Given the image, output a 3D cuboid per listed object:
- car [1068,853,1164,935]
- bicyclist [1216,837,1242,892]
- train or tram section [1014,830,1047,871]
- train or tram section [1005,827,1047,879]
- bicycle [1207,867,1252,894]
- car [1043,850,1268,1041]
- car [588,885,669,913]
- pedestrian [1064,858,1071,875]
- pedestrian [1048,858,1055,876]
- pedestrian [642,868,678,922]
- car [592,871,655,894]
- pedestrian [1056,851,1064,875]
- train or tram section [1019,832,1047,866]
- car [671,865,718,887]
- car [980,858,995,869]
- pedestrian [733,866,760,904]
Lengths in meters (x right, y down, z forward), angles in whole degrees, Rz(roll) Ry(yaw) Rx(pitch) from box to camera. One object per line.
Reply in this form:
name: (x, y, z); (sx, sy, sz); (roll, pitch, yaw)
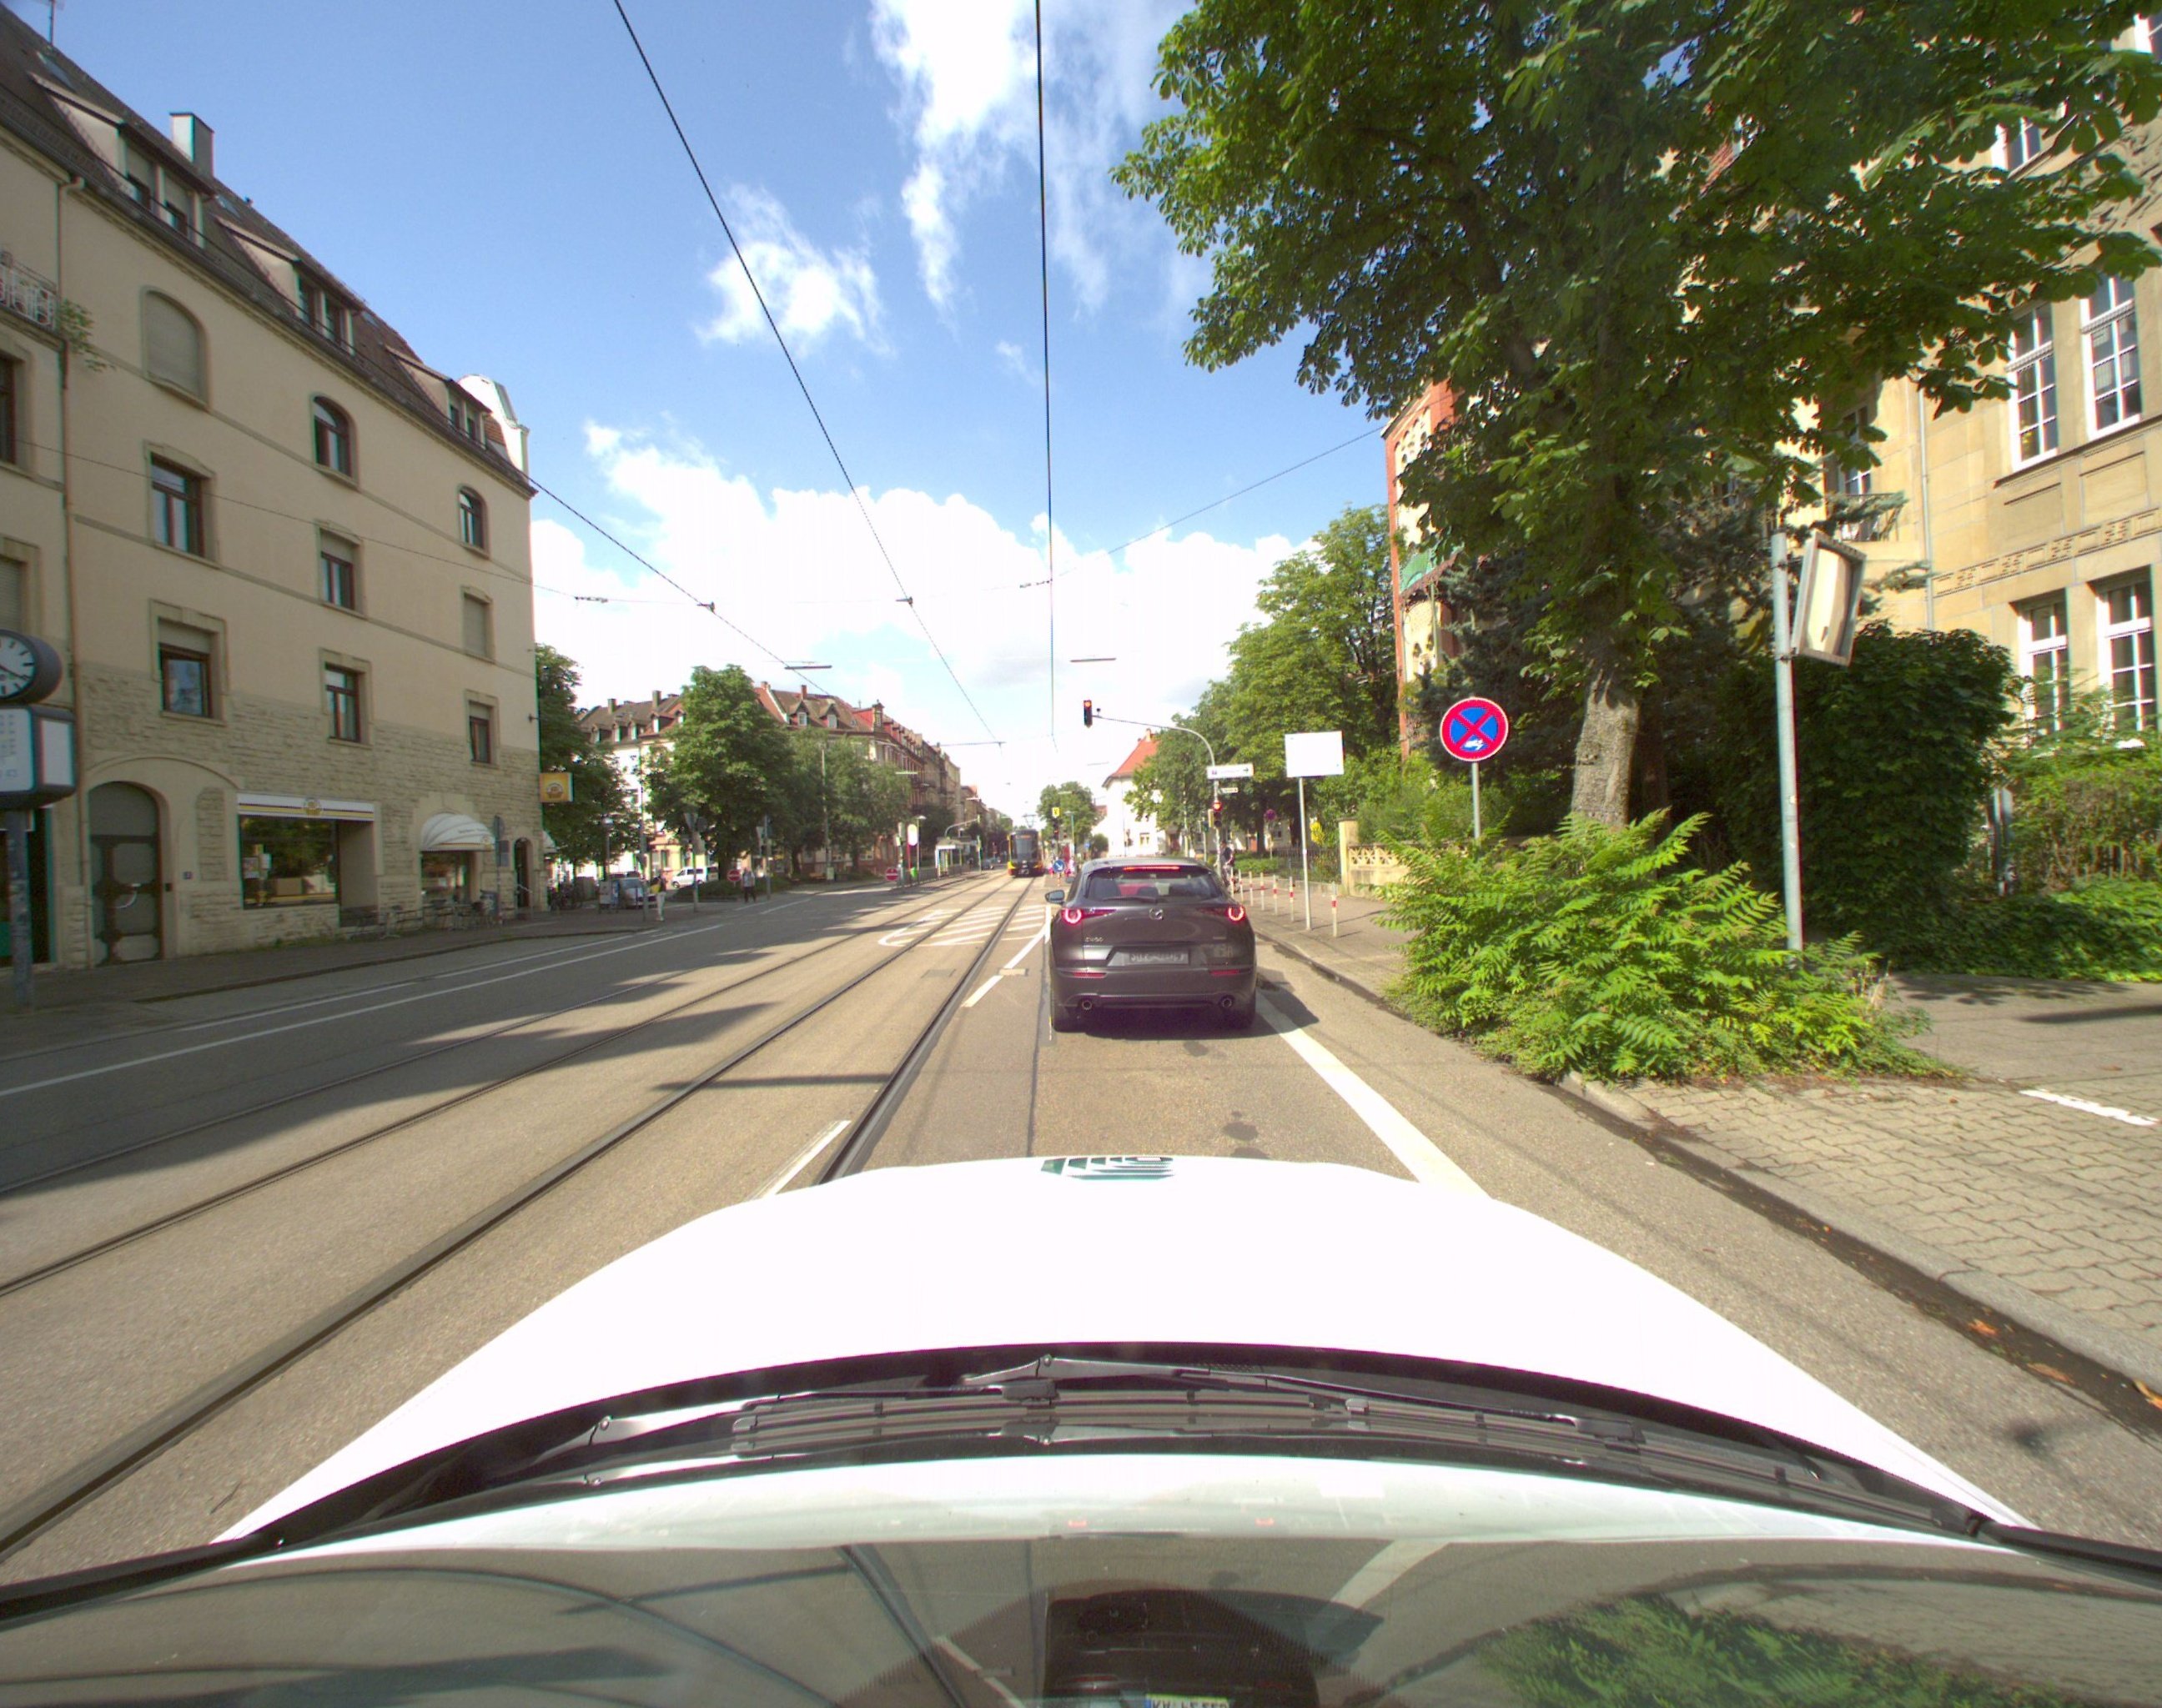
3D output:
car: (0.689, 0.739, 17.109); (1.772, 1.499, 4.001); (-1, 0, 1)
bicyclist: (4.986, 0.357, 27.420); (0.608, 1.793, 0.656); (-2, 0, -9)
train or tram section: (-4.734, -0.418, 78.343); (2.746, 3.490, 14.395); (-3, 1, -2)
train or tram section: (-4.142, -0.205, 63.973); (2.746, 3.490, 14.395); (-3, 1, -2)
bicycle: (5.059, 0.897, 27.619); (1.708, 0.824, 0.488); (-3, 0, -40)
car: (0.631, 0.726, 8.480); (1.772, 1.499, 4.001); (-1, 0, 1)
car: (-21.216, 2.110, 38.152); (3.948, 1.182, 1.689); (-3, 0, 35)
pedestrian: (-0.819, 0.773, 49.528); (0.379, 0.984, 0.474); (-3, 0, -3)
pedestrian: (-1.799, 0.798, 49.351); (0.379, 1.071, 0.474); (-3, 0, -3)
pedestrian: (-14.088, 1.360, 27.276); (0.676, 1.754, 0.806); (-3, 0, 40)
car: (-37.343, 2.289, 66.547); (3.972, 1.596, 2.001); (-3, 0, 1)
pedestrian: (-1.275, 0.557, 49.484); (0.449, 1.434, 0.474); (-3, 0, -3)
train or tram section: (-5.333, -0.630, 92.744); (2.746, 3.490, 14.395); (-3, 1, -2)
car: (-37.307, 2.163, 78.648); (3.950, 1.903, 2.012); (-3, 0, 25)
car: (-11.881, 1.187, 103.692); (1.610, 1.310, 3.625); (-3, 0, -2)
pedestrian: (-15.604, 1.441, 38.016); (0.817, 1.705, 0.720); (-3, 0, 6)
